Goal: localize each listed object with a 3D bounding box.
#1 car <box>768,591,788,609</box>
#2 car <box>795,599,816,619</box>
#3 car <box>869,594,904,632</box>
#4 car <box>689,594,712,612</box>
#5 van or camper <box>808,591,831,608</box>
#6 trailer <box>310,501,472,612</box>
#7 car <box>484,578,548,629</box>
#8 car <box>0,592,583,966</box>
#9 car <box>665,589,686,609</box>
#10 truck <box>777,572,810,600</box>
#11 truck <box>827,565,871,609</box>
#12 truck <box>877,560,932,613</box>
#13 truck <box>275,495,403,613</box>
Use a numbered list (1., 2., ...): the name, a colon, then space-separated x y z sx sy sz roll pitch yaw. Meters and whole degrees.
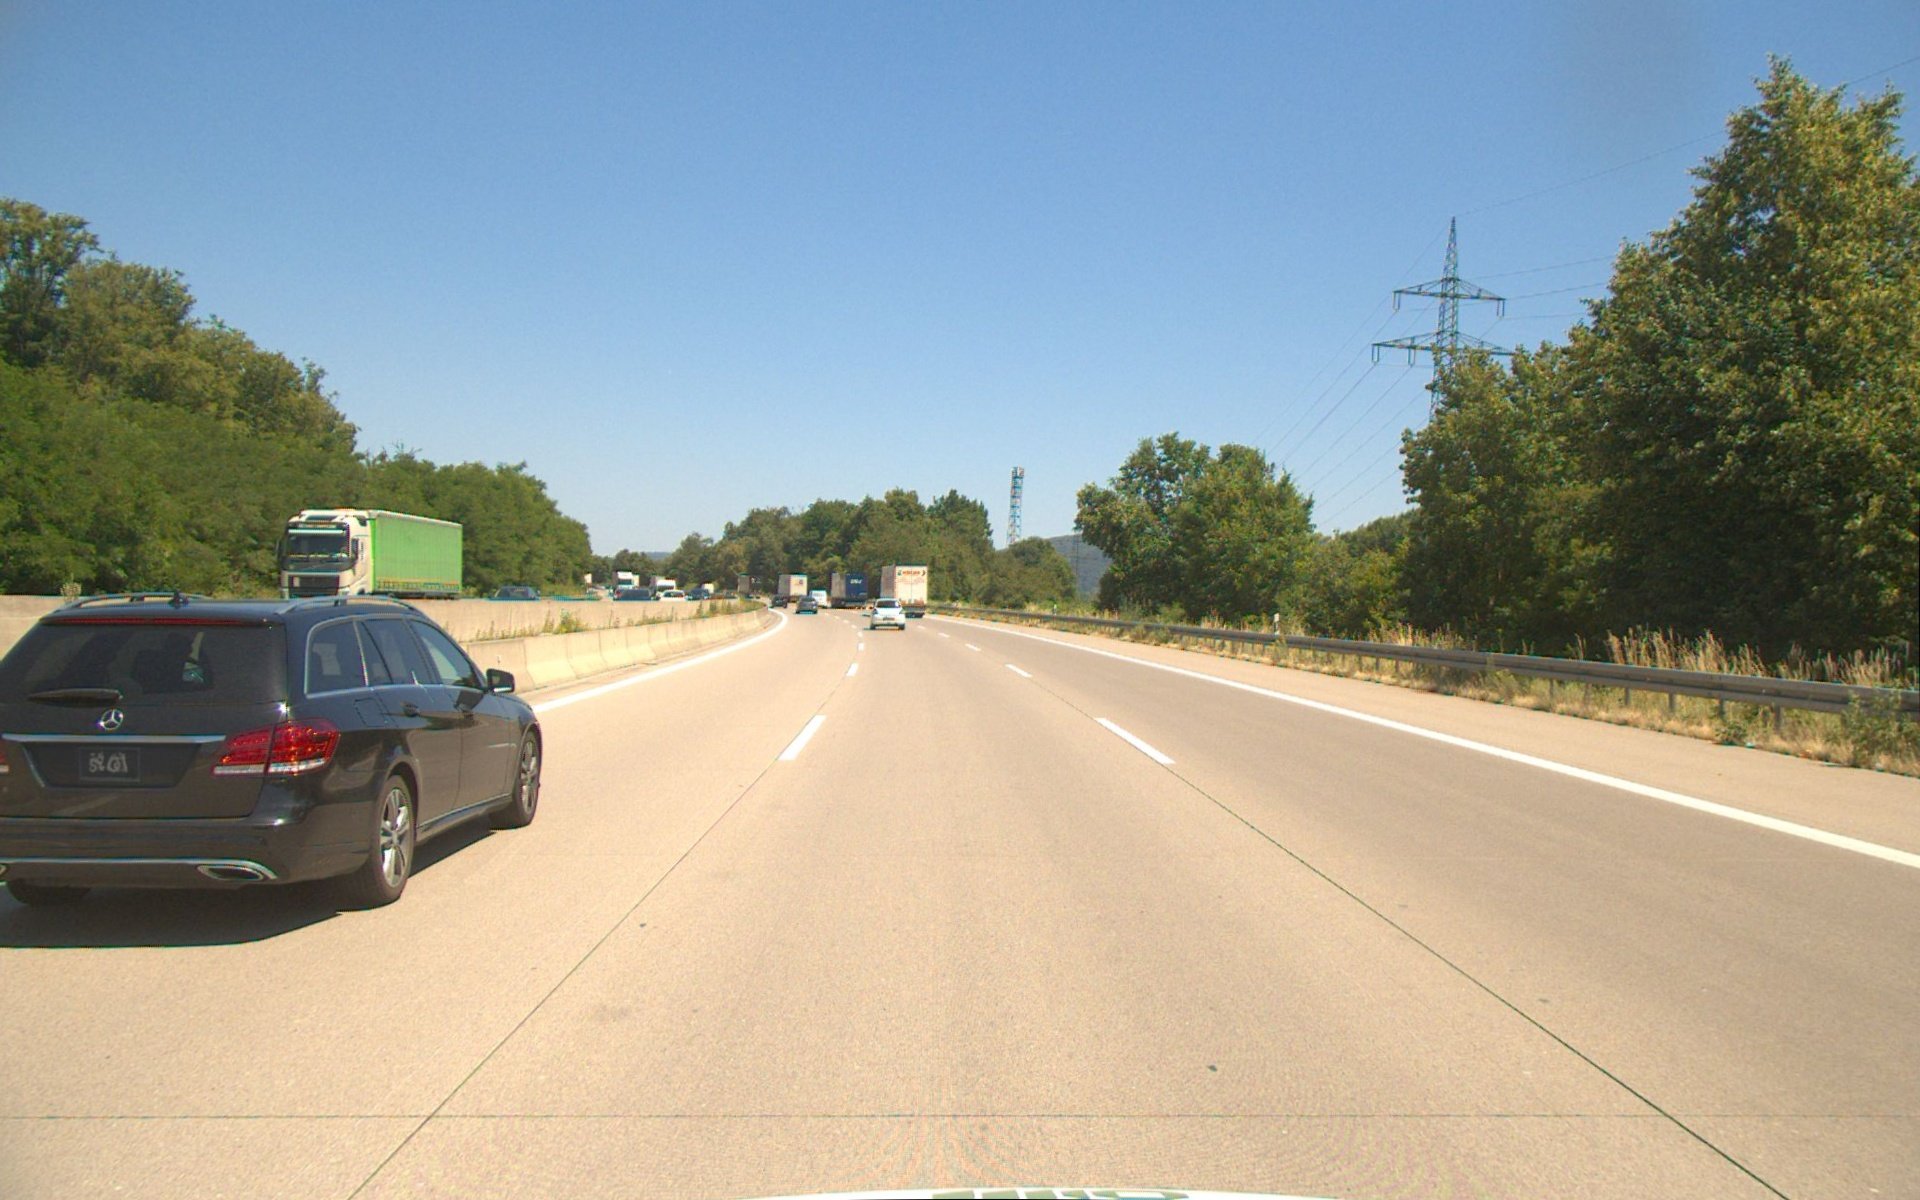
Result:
1. car: -20.542 0.014 186.651 1.985 1.729 3.993 6 0 -8
2. car: -13.671 0.764 146.361 1.580 1.755 3.566 0 0 -9
3. car: -3.681 0.646 82.859 1.609 1.690 3.358 5 1 -3
4. car: -24.051 0.303 153.261 1.956 1.644 3.993 0 0 -8
5. van or camper: -15.647 -0.022 183.950 1.836 1.870 3.984 0 0 -15
6. trailer: -22.573 -1.592 66.572 2.629 4.004 13.238 0 0 -3
7. car: -18.846 0.142 70.369 1.825 2.049 3.997 1 0 -3
8. car: -3.663 0.716 9.511 1.852 1.499 5.601 1 0 -2
9. car: -28.987 -0.065 168.399 1.905 1.994 3.986 0 0 -13
10. truck: -25.429 -2.085 252.101 3.827 4.053 13.583 0 0 -11
11. truck: -12.838 -1.481 190.351 3.835 4.824 14.020 0 0 -9
12. truck: -4.597 -1.033 132.822 3.745 3.957 14.139 0 0 -5
13. truck: -22.190 -1.566 59.448 2.612 4.004 5.965 0 0 -3
